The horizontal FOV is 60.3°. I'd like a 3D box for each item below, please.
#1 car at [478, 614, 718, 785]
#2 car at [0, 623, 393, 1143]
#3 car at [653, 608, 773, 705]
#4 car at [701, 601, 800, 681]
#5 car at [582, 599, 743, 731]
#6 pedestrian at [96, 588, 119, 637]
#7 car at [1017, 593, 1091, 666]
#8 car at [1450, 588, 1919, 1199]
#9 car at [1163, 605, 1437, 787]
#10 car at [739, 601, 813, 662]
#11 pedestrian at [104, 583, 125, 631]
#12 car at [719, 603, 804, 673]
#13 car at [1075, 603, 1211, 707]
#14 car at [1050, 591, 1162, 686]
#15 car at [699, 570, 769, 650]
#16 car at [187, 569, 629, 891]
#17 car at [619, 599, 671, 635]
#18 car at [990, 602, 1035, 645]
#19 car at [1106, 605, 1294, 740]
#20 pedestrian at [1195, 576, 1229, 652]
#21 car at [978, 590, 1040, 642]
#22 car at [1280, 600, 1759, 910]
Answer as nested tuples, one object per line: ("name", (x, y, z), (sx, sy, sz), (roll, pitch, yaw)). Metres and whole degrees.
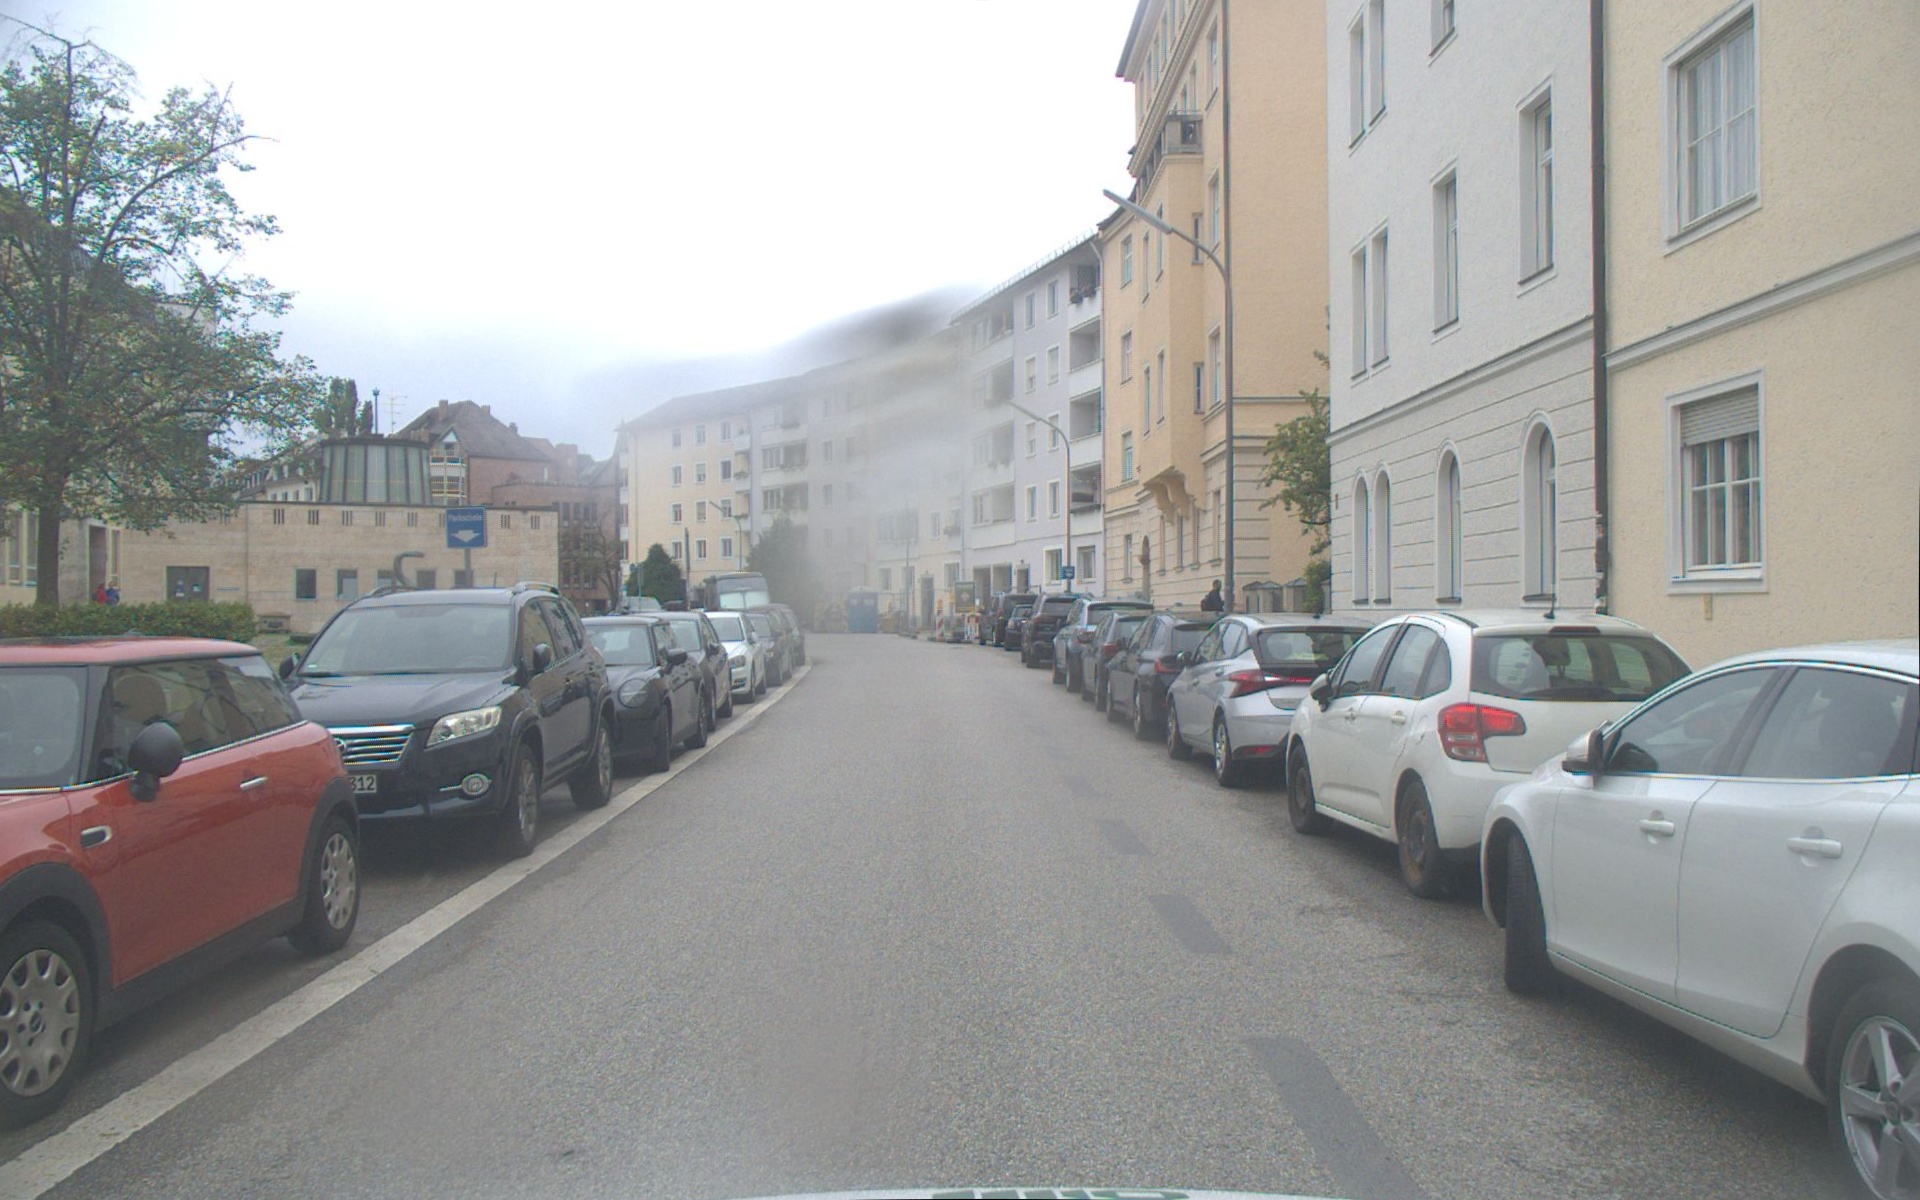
("car", (-3.491, 0.900, 16.596), (1.591, 1.437, 3.797), (-3, 0, -1))
("car", (-3.513, 0.840, 6.061), (1.619, 1.397, 3.651), (-3, 0, -1))
("car", (-4.054, 0.891, 27.624), (1.591, 1.444, 3.978), (-2, -1, -4))
("car", (-4.125, 0.789, 32.987), (1.591, 1.444, 3.979), (-2, -1, -3))
("car", (-3.827, 0.798, 21.822), (1.591, 1.535, 3.978), (-2, -1, -4))
("pedestrian", (-30.846, 0.448, 59.848), (0.662, 1.766, 0.637), (2, -1, -26))
("car", (2.241, 0.684, 40.074), (1.444, 1.669, 3.999), (1, 0, -2))
("car", (3.098, 0.734, 5.323), (1.658, 1.517, 4.281), (-1, 0, -1))
("car", (3.001, 0.816, 15.384), (1.658, 1.458, 3.943), (1, -1, -1))
("car", (-4.676, 0.786, 42.372), (1.591, 1.444, 3.646), (-2, -1, -3))
("pedestrian", (-31.179, 0.262, 60.969), (0.593, 1.766, 0.657), (2, -2, -31))
("car", (-4.452, 0.829, 37.504), (1.591, 1.444, 3.979), (-2, -1, -3))
("car", (2.724, 0.788, 25.310), (1.558, 1.457, 3.824), (1, 0, -1))
("car", (2.610, 0.669, 30.409), (1.558, 1.610, 4.297), (1, 0, -2))
("car", (-7.919, 0.332, 57.680), (1.743, 2.700, 3.979), (0, 0, -18))
("car", (-3.494, 0.729, 11.274), (1.667, 1.720, 4.027), (-3, 0, -1))
("car", (-15.237, 0.810, 79.917), (1.581, 1.677, 3.111), (2, -1, -28))
("car", (1.620, 0.726, 51.731), (1.246, 1.321, 2.796), (0, -1, -2))
("car", (2.813, 0.797, 20.230), (1.558, 1.457, 4.419), (1, 0, -1))
("pedestrian", (5.821, 0.321, 38.247), (0.653, 1.722, 0.690), (1, -1, -1))
("car", (1.658, 0.534, 56.833), (1.572, 1.745, 3.082), (1, 0, -10))
("car", (3.153, 0.768, 10.123), (1.566, 1.517, 3.798), (0, 0, -1))
